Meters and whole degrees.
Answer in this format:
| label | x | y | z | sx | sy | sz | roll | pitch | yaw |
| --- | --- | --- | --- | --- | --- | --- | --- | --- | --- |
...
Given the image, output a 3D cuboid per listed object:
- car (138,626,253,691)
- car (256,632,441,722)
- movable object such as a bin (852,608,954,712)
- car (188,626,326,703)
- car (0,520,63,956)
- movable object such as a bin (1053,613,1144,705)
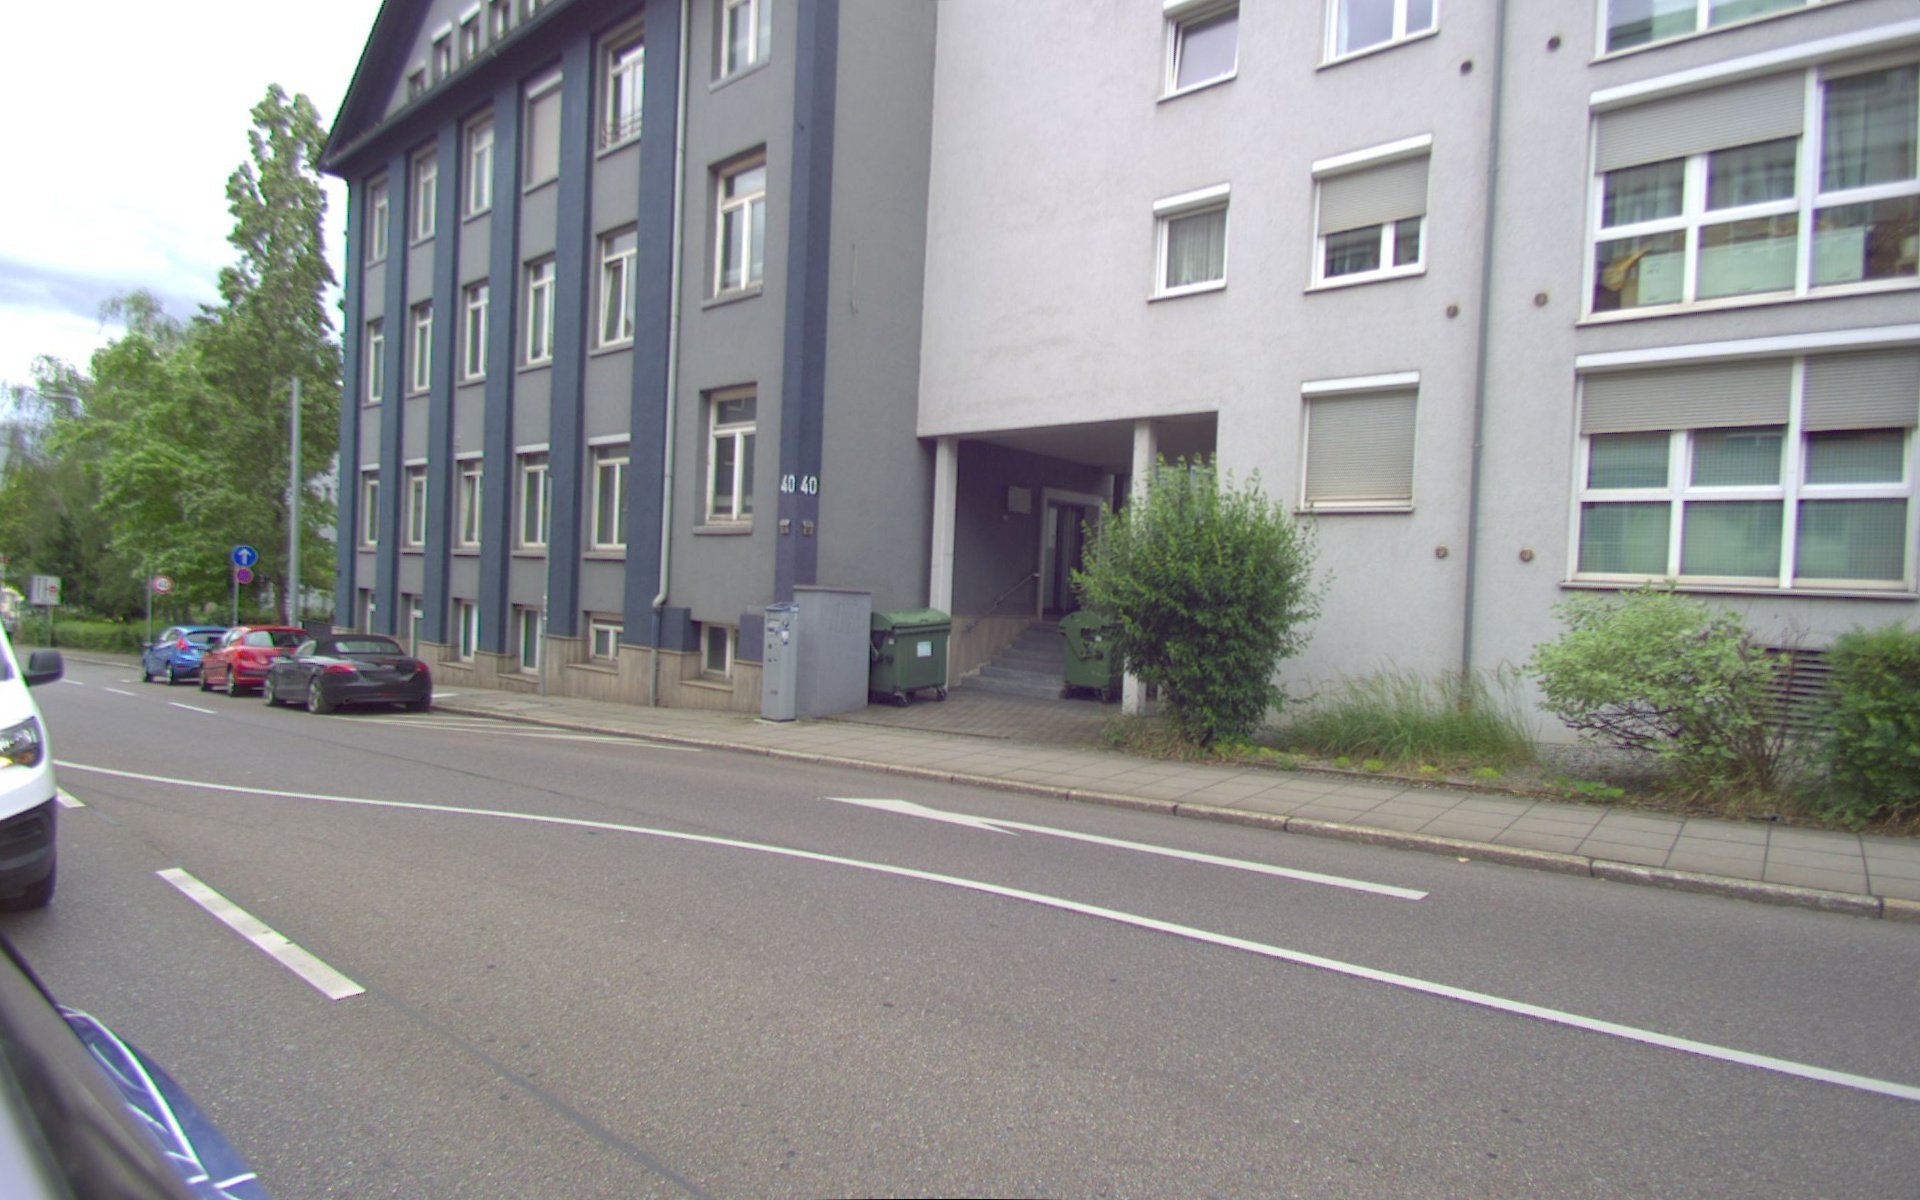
| label | x | y | z | sx | sy | sz | roll | pitch | yaw |
| --- | --- | --- | --- | --- | --- | --- | --- | --- | --- |
| car | -19.459 | 1.431 | 25.706 | 3.727 | 1.460 | 1.623 | -1 | 0 | 41 |
| car | -10.990 | 1.295 | 18.095 | 3.727 | 1.403 | 1.778 | -1 | -2 | 41 |
| movable object such as a bin | -0.881 | 0.890 | 15.728 | 1.039 | 1.518 | 1.213 | -1 | 0 | 41 |
| car | -15.350 | 1.326 | 22.034 | 3.727 | 1.460 | 1.623 | -1 | 0 | 41 |
| car | -6.123 | 0.627 | 5.243 | 3.998 | 1.901 | 1.716 | -1 | 0 | 41 |
| movable object such as a bin | 2.270 | 0.935 | 16.557 | 1.078 | 1.427 | 1.026 | -1 | 0 | 41 |
